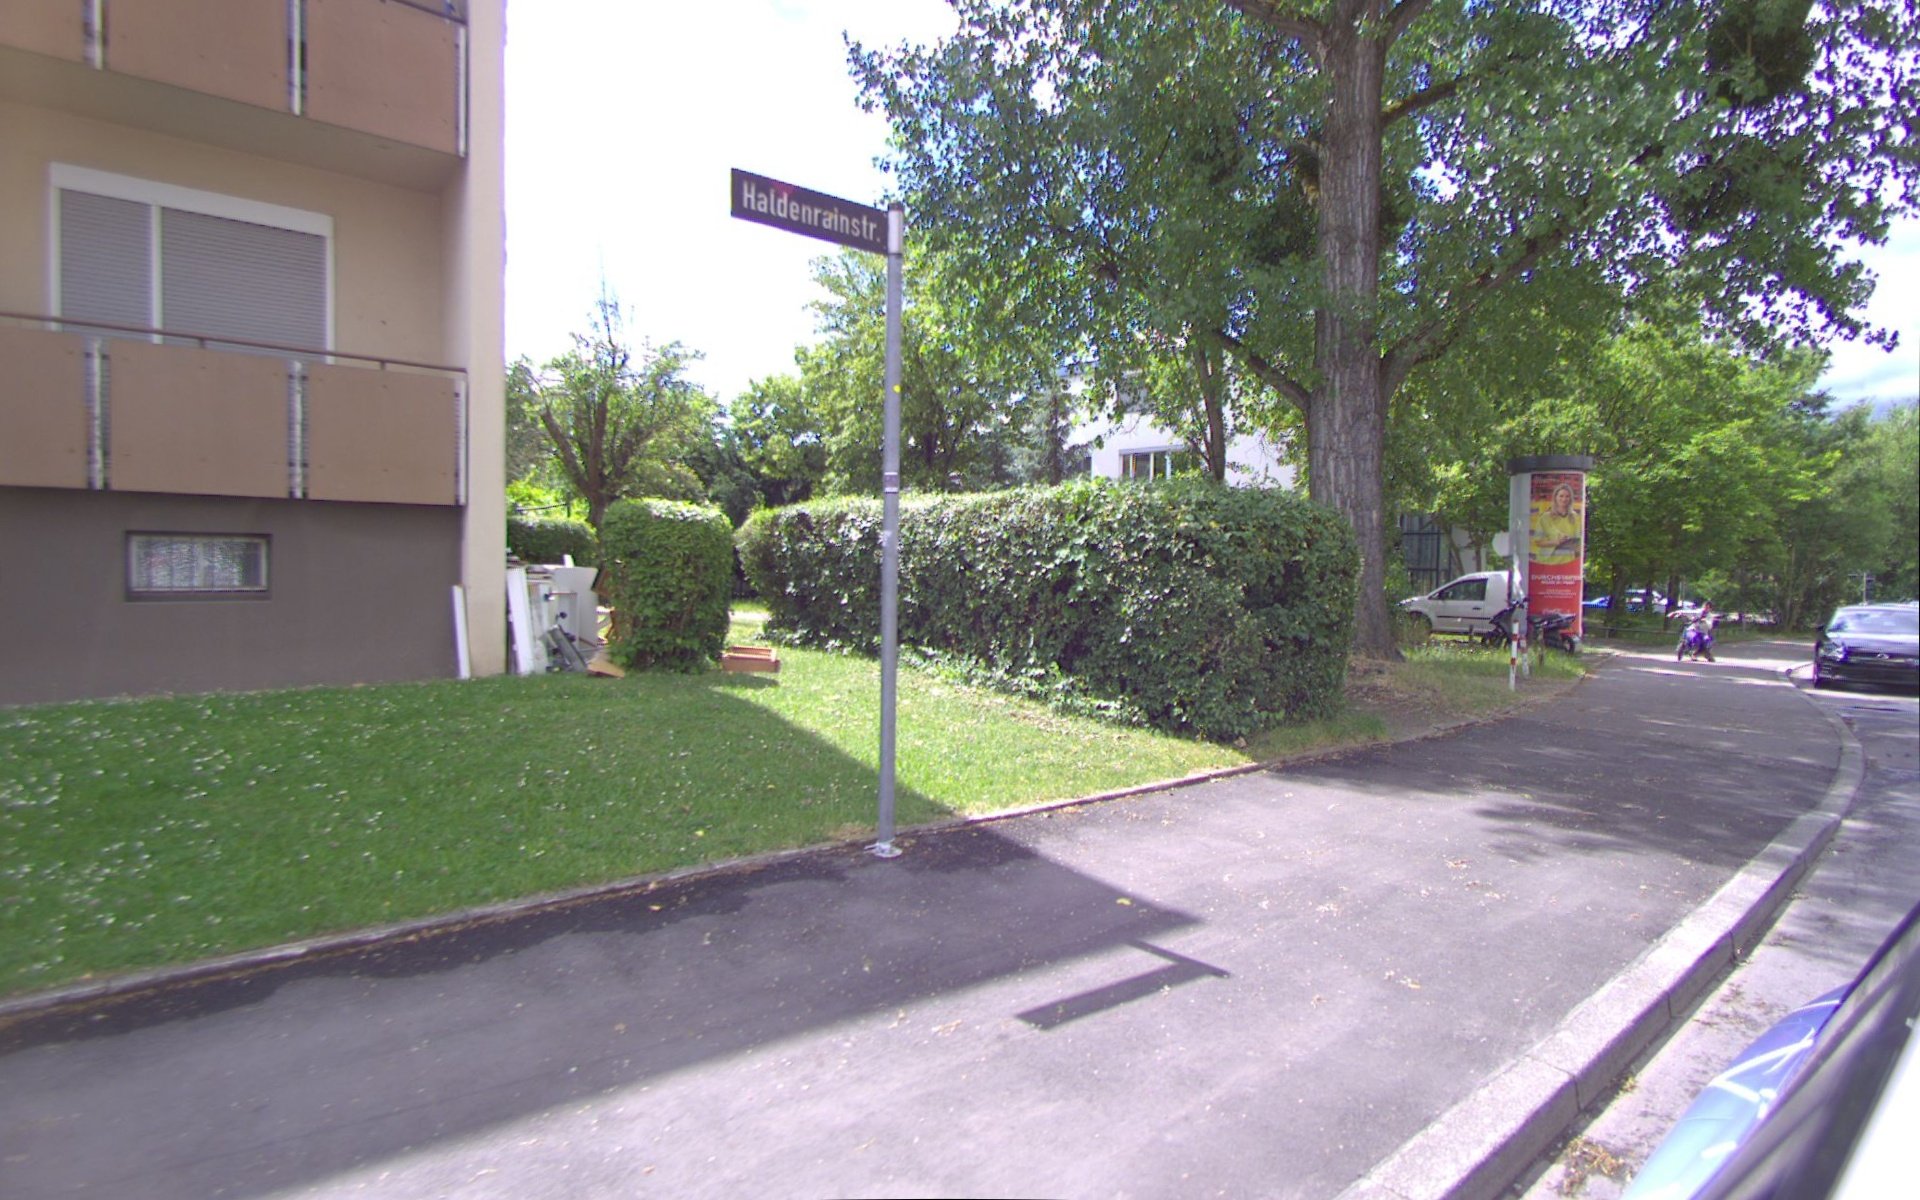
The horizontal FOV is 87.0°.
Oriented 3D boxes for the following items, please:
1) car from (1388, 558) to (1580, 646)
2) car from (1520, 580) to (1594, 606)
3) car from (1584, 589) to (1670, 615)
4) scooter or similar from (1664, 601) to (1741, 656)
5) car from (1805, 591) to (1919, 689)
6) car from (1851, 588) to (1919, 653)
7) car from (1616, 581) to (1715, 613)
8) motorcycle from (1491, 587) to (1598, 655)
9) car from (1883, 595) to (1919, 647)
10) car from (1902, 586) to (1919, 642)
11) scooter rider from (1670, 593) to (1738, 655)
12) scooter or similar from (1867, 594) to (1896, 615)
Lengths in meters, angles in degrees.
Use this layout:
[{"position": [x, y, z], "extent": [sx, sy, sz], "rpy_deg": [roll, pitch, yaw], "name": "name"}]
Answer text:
[{"position": [12.739, -0.005, 24.793], "extent": [3.964, 1.845, 1.793], "rpy_deg": [4, 2, 28], "name": "car"}, {"position": [39.140, -0.466, 66.394], "extent": [3.887, 1.429, 1.584], "rpy_deg": [4, 5, 44], "name": "car"}, {"position": [39.990, 0.082, 60.729], "extent": [1.883, 1.239, 3.963], "rpy_deg": [-3, 5, -44], "name": "car"}, {"position": [16.033, 0.604, 21.836], "extent": [2.077, 1.077, 0.891], "rpy_deg": [2, 2, -42], "name": "scooter or similar"}, {"position": [16.131, 0.661, 17.524], "extent": [3.762, 1.466, 1.818], "rpy_deg": [1, 2, -43], "name": "car"}, {"position": [25.668, 0.537, 27.530], "extent": [4.495, 1.584, 1.785], "rpy_deg": [1, 2, -45], "name": "car"}, {"position": [43.080, -0.202, 61.866], "extent": [1.892, 1.610, 4.646], "rpy_deg": [-3, 5, -44], "name": "car"}, {"position": [11.809, 0.403, 20.513], "extent": [1.785, 1.225, 0.705], "rpy_deg": [4, 2, 29], "name": "motorcycle"}, {"position": [29.210, 0.645, 30.568], "extent": [4.007, 1.476, 1.646], "rpy_deg": [1, 2, -43], "name": "car"}, {"position": [32.555, 0.510, 33.459], "extent": [4.491, 1.784, 1.647], "rpy_deg": [1, 2, -42], "name": "car"}, {"position": [16.082, 0.510, 21.870], "extent": [1.260, 1.235, 0.886], "rpy_deg": [2, 2, -42], "name": "scooter rider"}, {"position": [58.347, 0.255, 64.092], "extent": [1.198, 1.250, 0.475], "rpy_deg": [3, 2, 25], "name": "scooter or similar"}]
